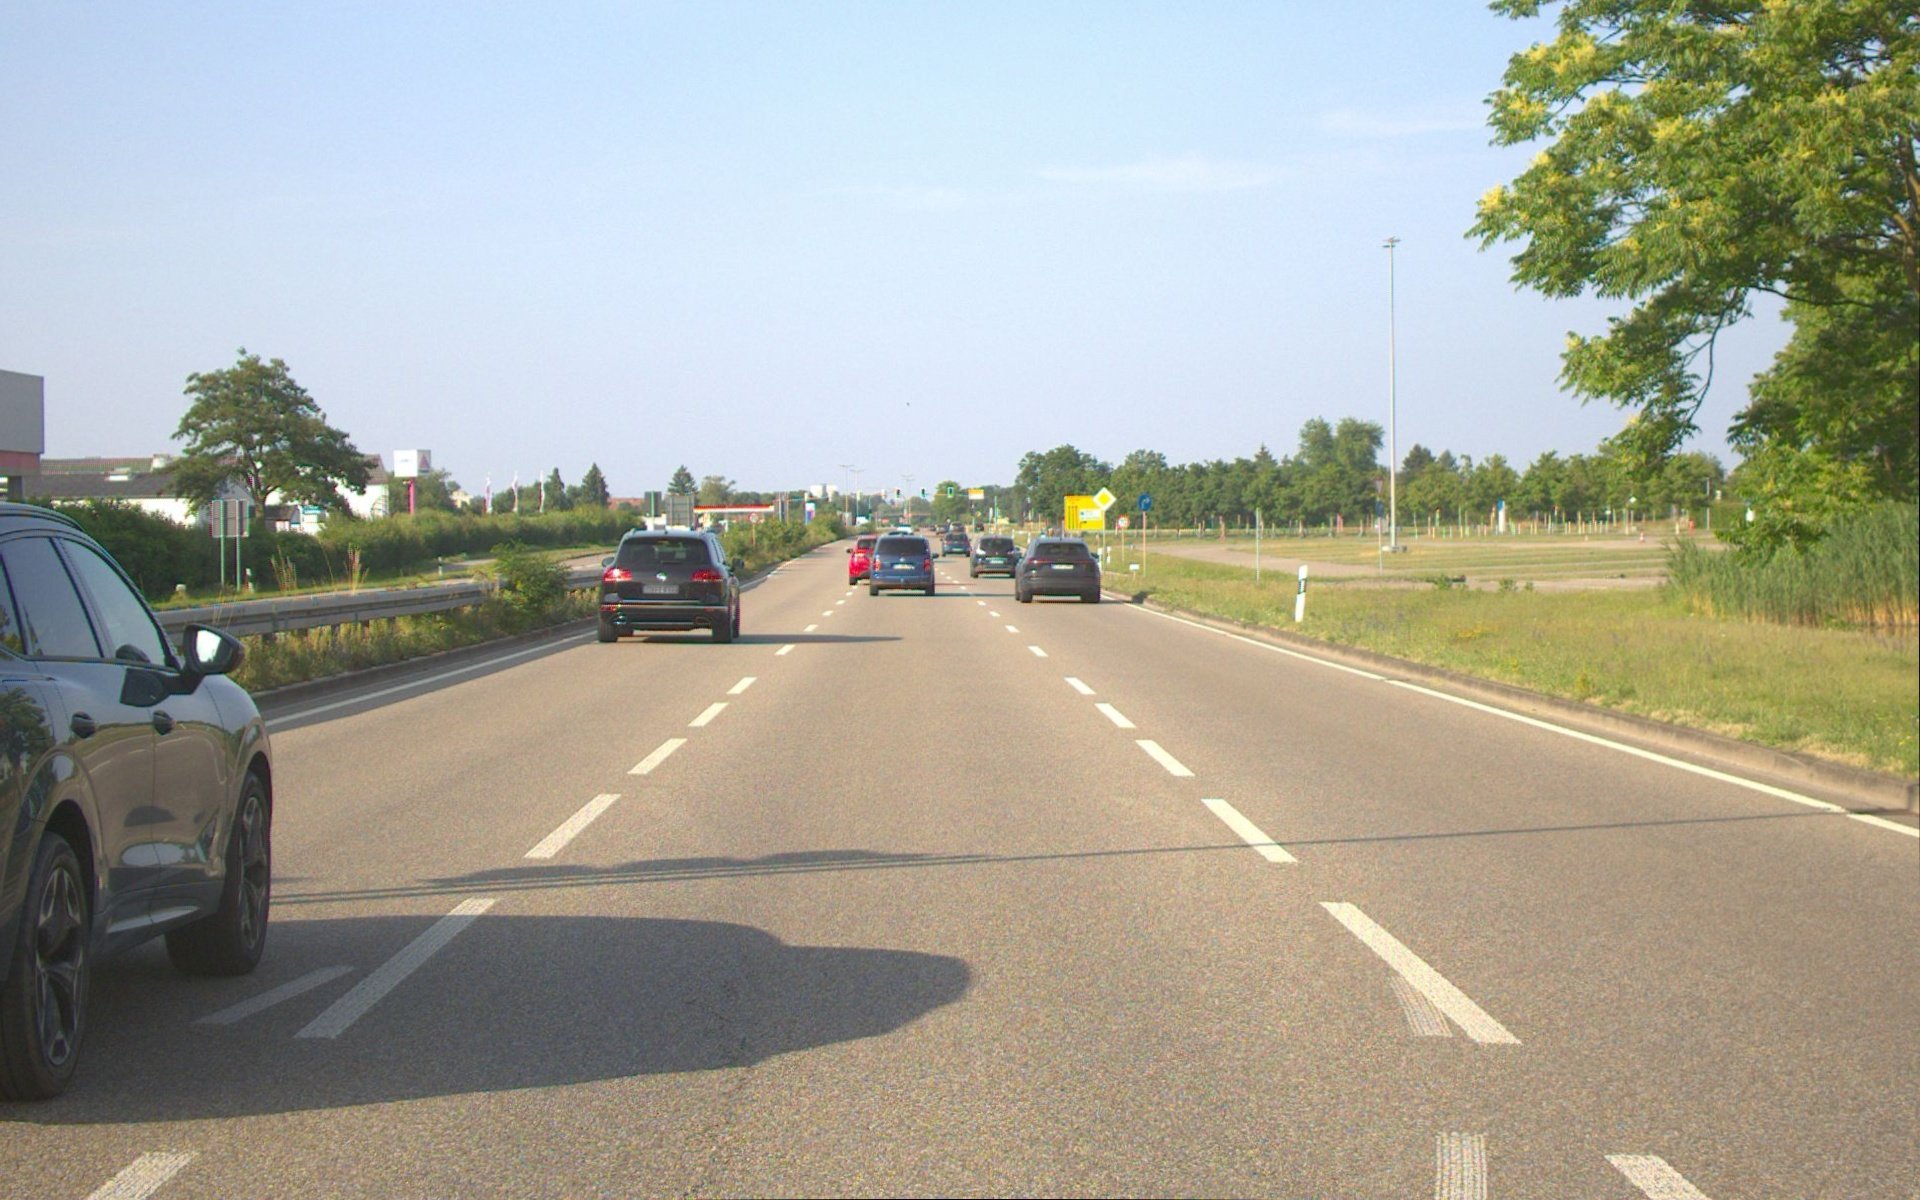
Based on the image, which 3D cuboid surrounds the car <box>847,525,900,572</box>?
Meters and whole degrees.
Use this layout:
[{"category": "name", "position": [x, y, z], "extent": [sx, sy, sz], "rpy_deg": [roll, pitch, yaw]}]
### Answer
[{"category": "car", "position": [-2.814, -1.719, 113.036], "extent": [1.647, 1.458, 3.981], "rpy_deg": [2, 1, -1]}]

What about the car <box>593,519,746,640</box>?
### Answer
[{"category": "car", "position": [-4.341, -0.346, 51.940], "extent": [1.932, 1.674, 4.401], "rpy_deg": [2, 1, -1]}]

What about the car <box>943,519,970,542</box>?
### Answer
[{"category": "car", "position": [-0.219, -4.165, 206.199], "extent": [1.503, 1.309, 3.156], "rpy_deg": [2, 1, -1]}]

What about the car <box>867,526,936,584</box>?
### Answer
[{"category": "car", "position": [-1.590, -1.252, 94.151], "extent": [1.812, 1.458, 4.401], "rpy_deg": [2, 1, -1]}]

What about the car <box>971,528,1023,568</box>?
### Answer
[{"category": "car", "position": [1.423, -2.012, 132.972], "extent": [1.873, 1.458, 3.981], "rpy_deg": [2, 1, -1]}]

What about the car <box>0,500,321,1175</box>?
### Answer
[{"category": "car", "position": [-3.234, 0.505, 10.245], "extent": [1.845, 1.606, 4.401], "rpy_deg": [2, 1, -1]}]

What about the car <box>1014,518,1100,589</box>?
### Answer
[{"category": "car", "position": [2.389, -1.179, 85.716], "extent": [1.932, 1.674, 4.401], "rpy_deg": [2, 1, -1]}]
